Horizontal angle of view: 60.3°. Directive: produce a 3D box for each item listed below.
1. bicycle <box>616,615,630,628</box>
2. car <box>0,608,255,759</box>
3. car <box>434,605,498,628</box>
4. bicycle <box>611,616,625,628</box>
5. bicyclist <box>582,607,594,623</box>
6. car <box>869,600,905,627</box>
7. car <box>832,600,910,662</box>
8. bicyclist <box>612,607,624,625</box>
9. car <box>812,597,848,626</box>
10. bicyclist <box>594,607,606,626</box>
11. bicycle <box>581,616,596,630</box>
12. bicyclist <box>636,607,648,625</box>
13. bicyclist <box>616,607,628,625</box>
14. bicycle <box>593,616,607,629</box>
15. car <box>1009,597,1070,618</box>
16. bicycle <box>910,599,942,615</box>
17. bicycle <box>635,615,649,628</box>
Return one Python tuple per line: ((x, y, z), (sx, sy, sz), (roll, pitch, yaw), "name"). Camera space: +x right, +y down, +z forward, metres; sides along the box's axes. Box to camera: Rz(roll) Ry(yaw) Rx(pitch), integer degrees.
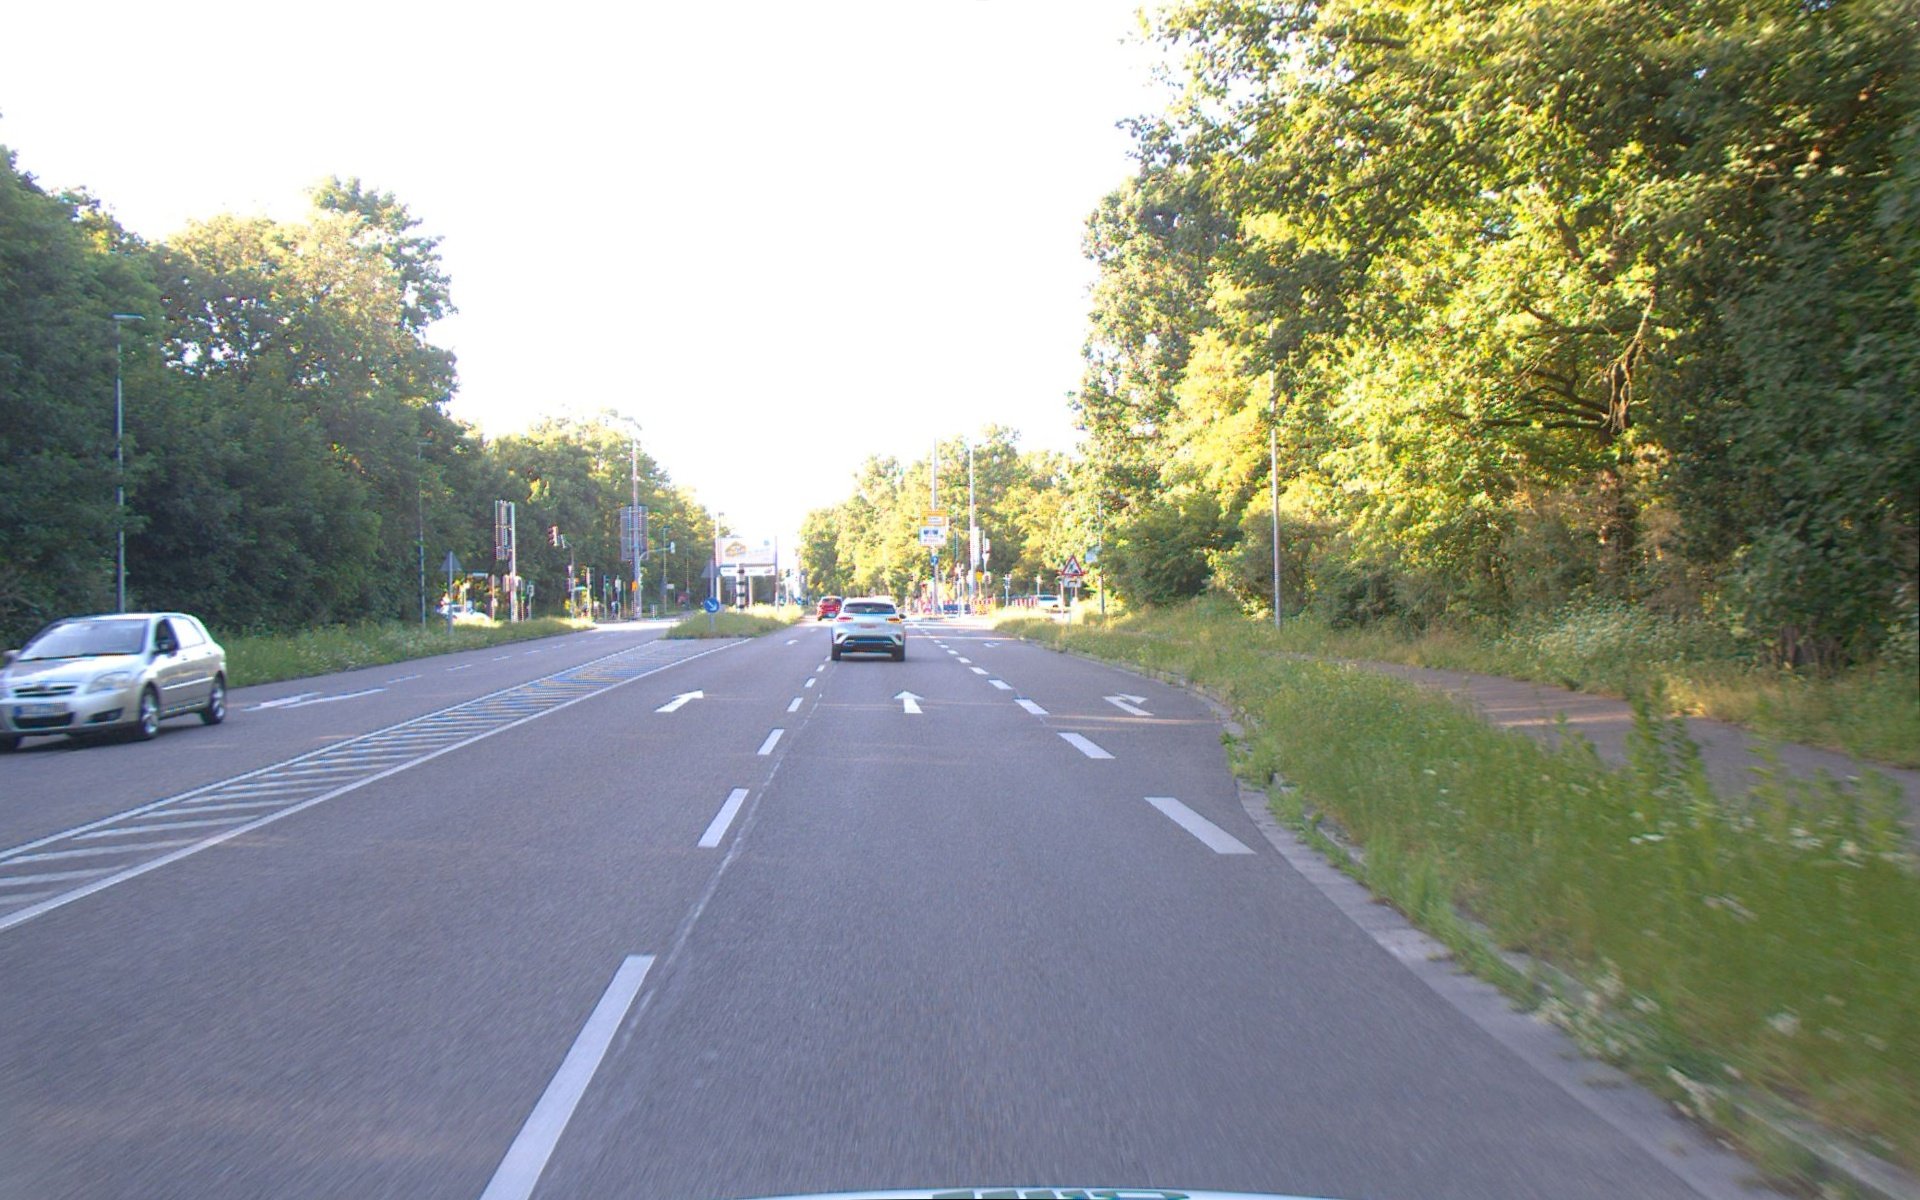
((-26.168, 1.664, 128.453), (0.700, 0.930, 1.910), (-1, 0, 0), "bicycle")
((-10.012, 0.902, 19.417), (1.793, 1.480, 4.476), (-3, 0, -5), "car")
((-32.514, 1.084, 108.825), (3.746, 1.413, 1.910), (-1, 0, -29), "car")
((-26.120, 1.666, 126.362), (0.700, 0.930, 1.910), (-1, 0, 0), "bicycle")
((-28.206, 1.134, 125.472), (0.700, 1.213, 0.990), (-1, 0, 0), "bicyclist")
((-4.102, 0.755, 92.875), (1.901, 1.439, 3.998), (-1, 0, -3), "car")
((-2.224, 0.735, 41.027), (1.826, 1.469, 3.997), (0, 0, -4), "car")
((-26.126, 1.225, 126.360), (0.700, 1.379, 0.990), (-1, 0, 0), "bicyclist")
((-7.892, 0.695, 100.083), (1.956, 1.714, 3.993), (-1, 0, -7), "car")
((-27.312, 1.237, 125.416), (0.696, 1.414, 0.990), (-1, 0, 0), "bicyclist")
((-28.193, 1.737, 125.468), (0.700, 0.930, 1.911), (-1, 1, 0), "bicycle")
((-24.281, 1.225, 126.466), (0.700, 1.362, 0.990), (-1, 0, 0), "bicyclist")
((-26.175, 1.216, 127.997), (0.700, 1.365, 0.990), (-1, 0, 0), "bicyclist")
((-27.300, 1.727, 125.448), (0.700, 0.930, 1.910), (-1, 0, 0), "bicycle")
((6.633, 0.612, 138.175), (4.757, 1.608, 1.984), (-1, 0, -25), "car")
((-2.916, 0.616, 141.790), (2.610, 1.407, 0.956), (0, 0, -36), "bicycle")
((-24.277, 1.626, 126.405), (0.700, 0.930, 1.910), (-1, 0, 0), "bicycle")
